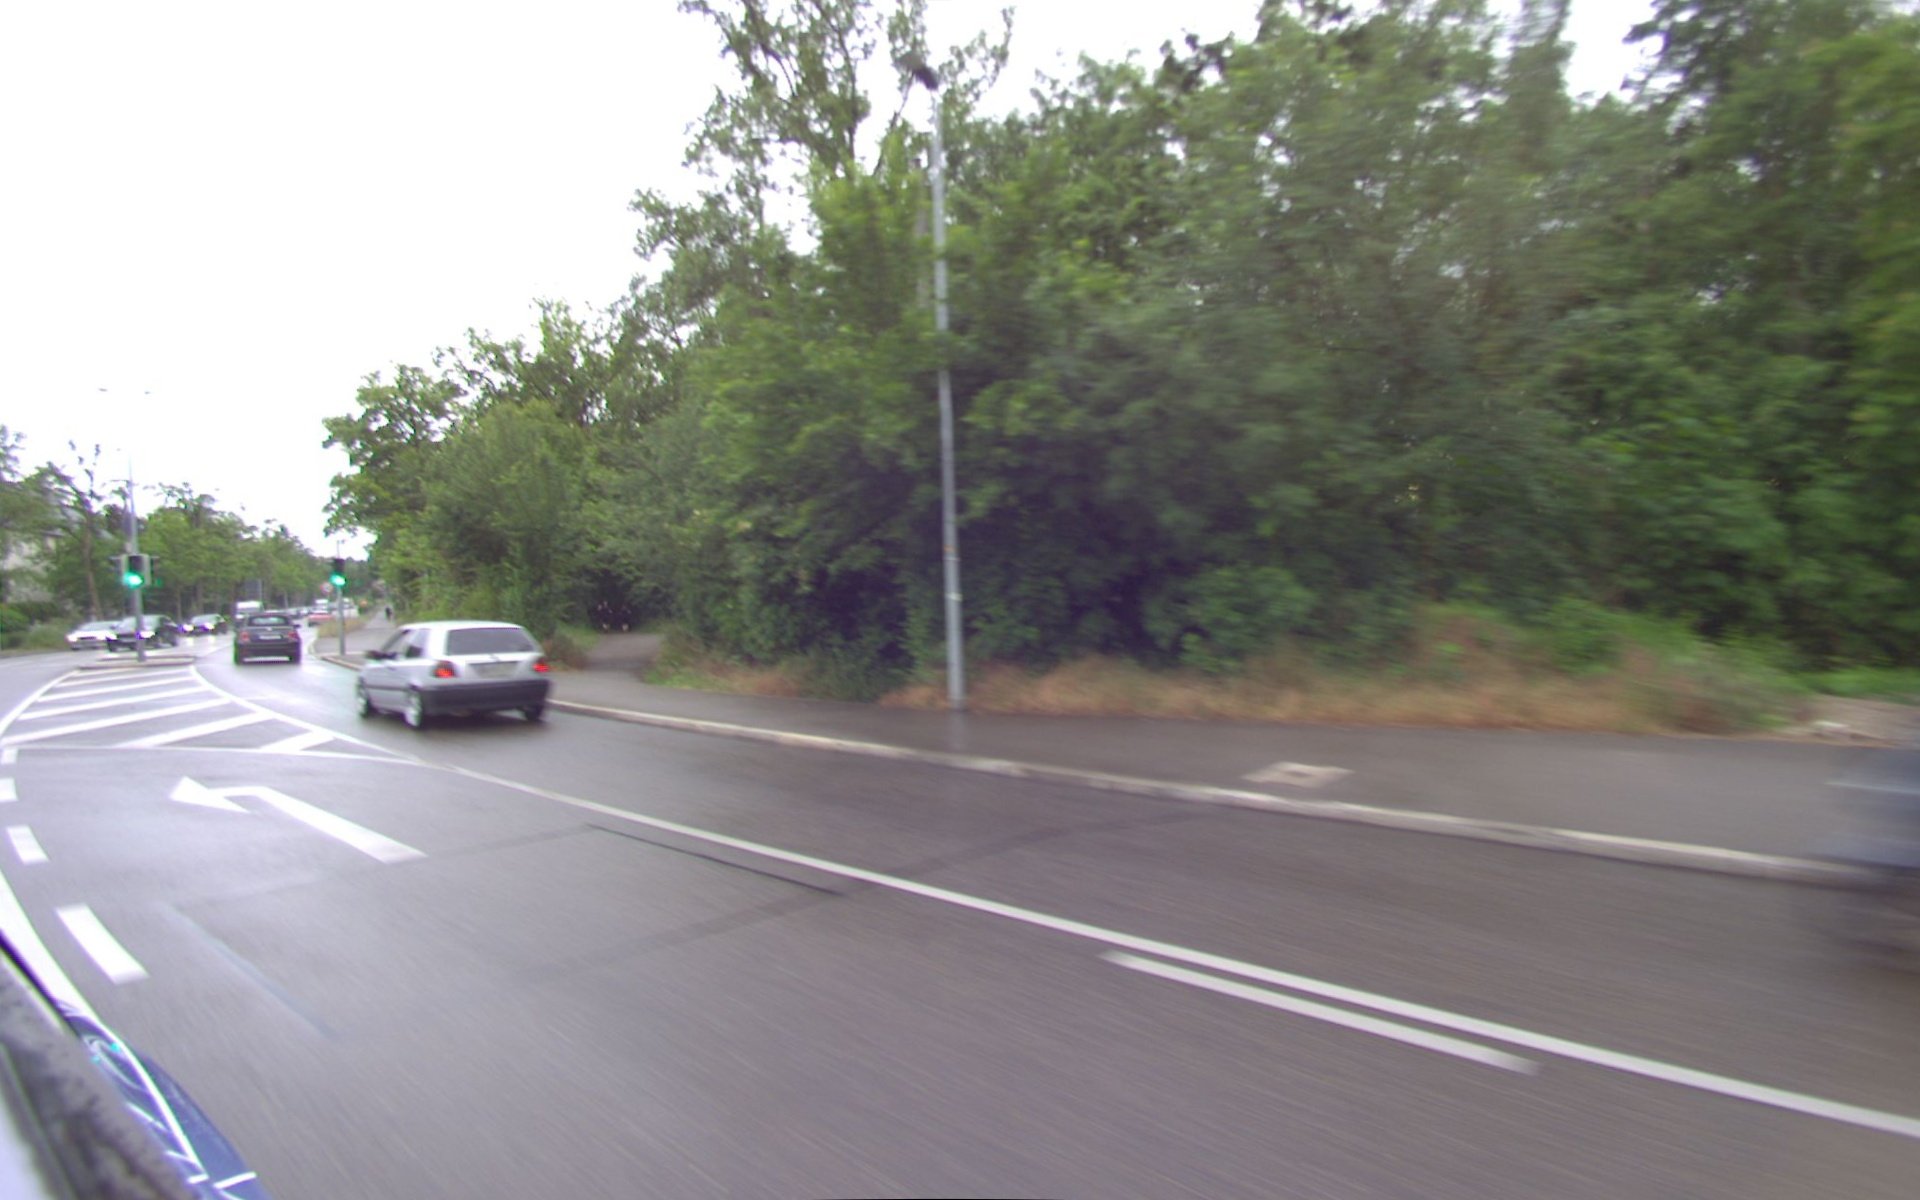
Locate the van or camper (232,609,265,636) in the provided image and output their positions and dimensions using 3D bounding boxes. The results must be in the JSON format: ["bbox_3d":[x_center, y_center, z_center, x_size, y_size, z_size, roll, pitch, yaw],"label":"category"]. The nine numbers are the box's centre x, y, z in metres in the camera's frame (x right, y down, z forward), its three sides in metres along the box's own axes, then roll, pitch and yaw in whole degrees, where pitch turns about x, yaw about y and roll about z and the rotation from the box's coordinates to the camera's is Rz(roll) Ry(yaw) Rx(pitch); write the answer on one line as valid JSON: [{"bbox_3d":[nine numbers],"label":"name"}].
[{"bbox_3d":[-68.378,2.152,97.286,1.966,2.471,4.737,-3,0,-28],"label":"van or camper"}]

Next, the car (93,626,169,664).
[{"bbox_3d":[-35.731,1.890,43.712,1.913,1.466,4.617,-1,-1,-32],"label":"car"}]

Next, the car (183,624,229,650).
[{"bbox_3d":[-49.630,2.410,66.700,1.913,1.615,4.618,-1,-1,-30],"label":"car"}]

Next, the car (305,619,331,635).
[{"bbox_3d":[-56.790,2.375,89.500,1.914,1.386,4.616,-1,-1,-33],"label":"car"}]

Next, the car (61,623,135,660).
[{"bbox_3d":[-41.354,1.967,48.649,1.913,1.615,4.618,-1,-1,-30],"label":"car"}]

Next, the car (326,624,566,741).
[{"bbox_3d":[-7.300,1.063,14.176,4.210,1.362,1.721,-2,-2,44],"label":"car"}]

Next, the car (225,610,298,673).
[{"bbox_3d":[-21.051,1.225,30.454,1.556,1.744,3.782,0,-1,-38],"label":"car"}]

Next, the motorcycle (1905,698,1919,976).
[{"bbox_3d":[4.424,0.901,3.233,1.998,1.059,0.588,-2,-1,41],"label":"motorcycle"}]

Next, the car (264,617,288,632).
[{"bbox_3d":[-77.939,2.797,115.346,1.913,1.615,4.618,-1,-1,-30],"label":"car"}]

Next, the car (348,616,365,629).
[{"bbox_3d":[-80.068,2.965,134.335,1.913,1.615,4.618,-1,-1,-30],"label":"car"}]
